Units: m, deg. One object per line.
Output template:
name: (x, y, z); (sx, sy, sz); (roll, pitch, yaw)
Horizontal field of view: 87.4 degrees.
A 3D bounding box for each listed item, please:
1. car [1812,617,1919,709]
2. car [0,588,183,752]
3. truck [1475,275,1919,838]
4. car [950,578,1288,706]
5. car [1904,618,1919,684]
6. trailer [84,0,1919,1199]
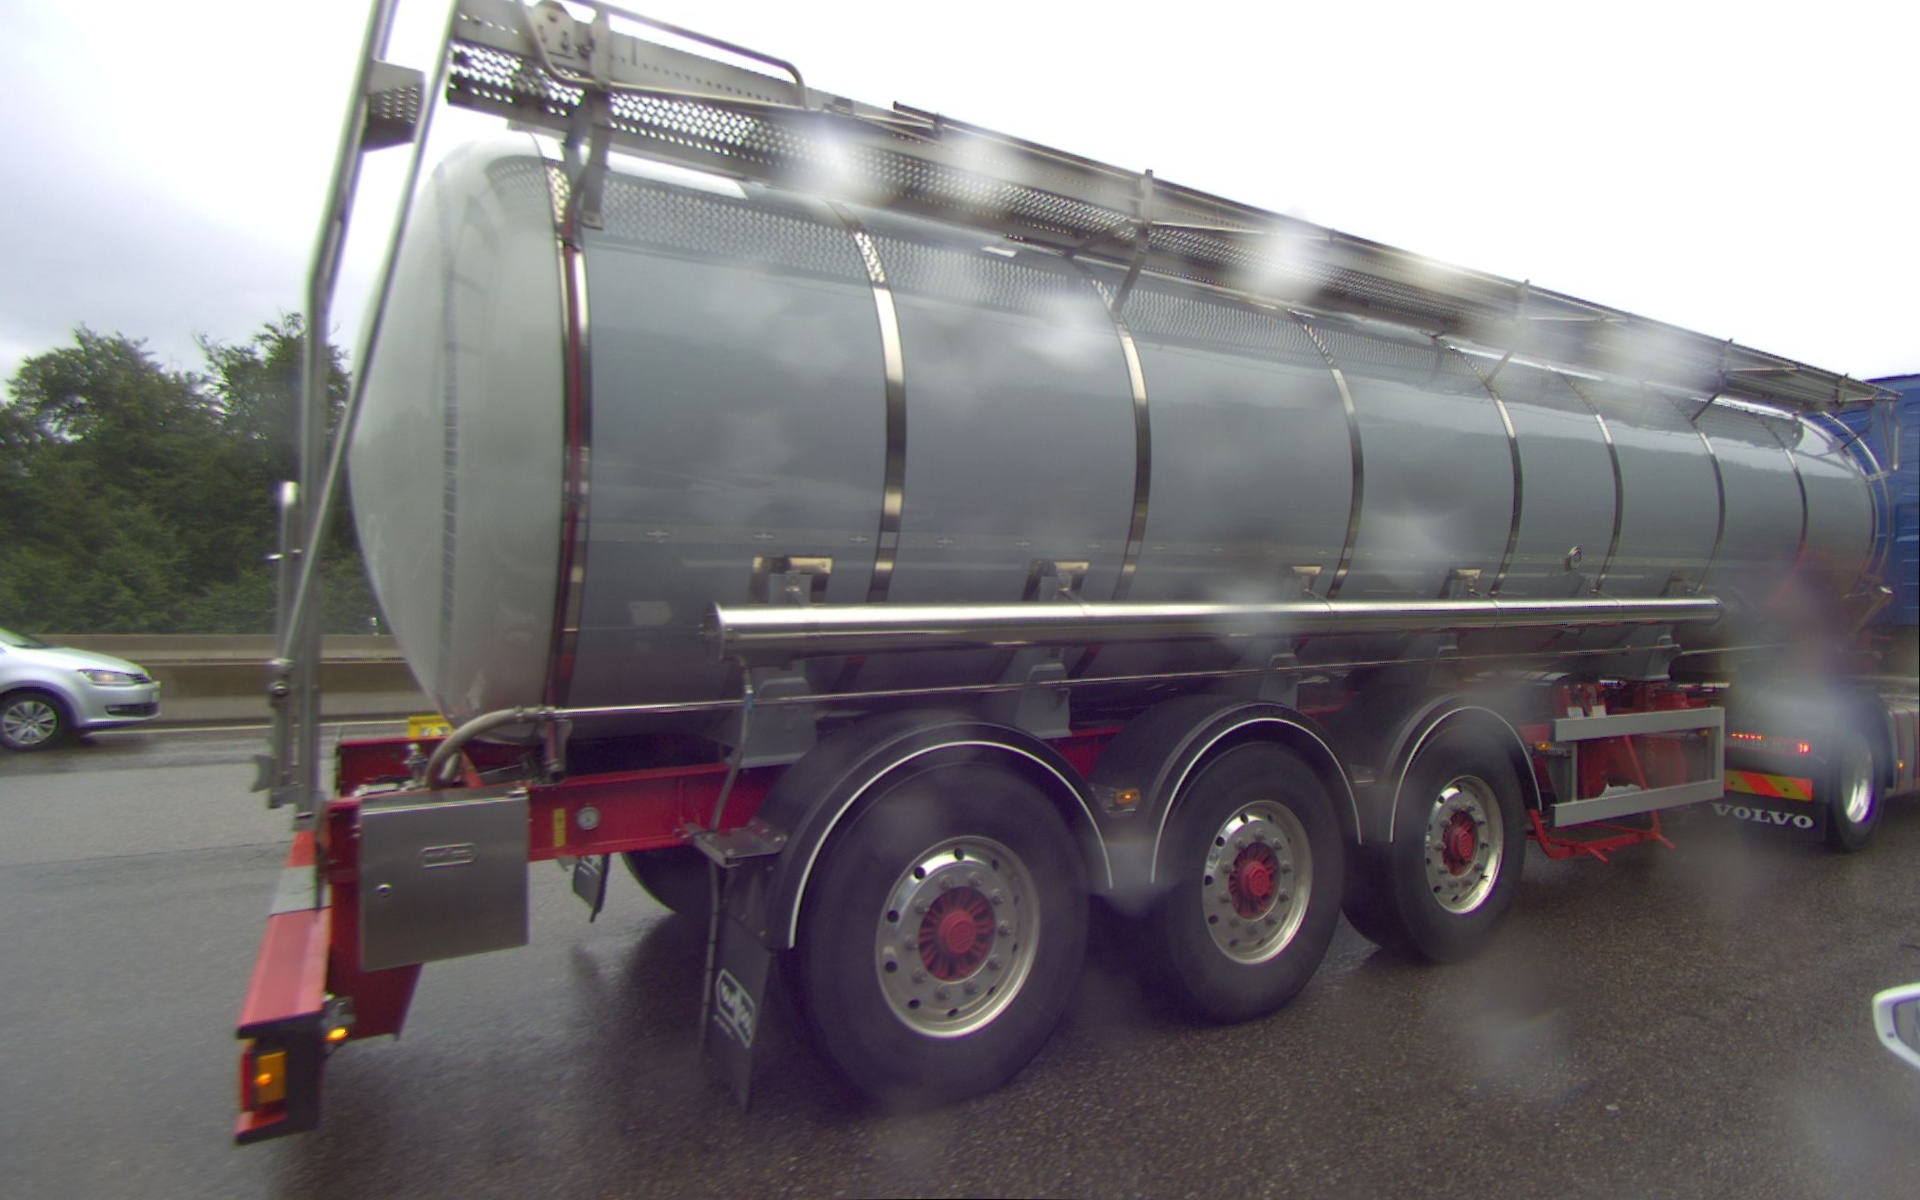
car: (20.080, 1.275, 21.207); (4.514, 1.774, 1.837); (1, -2, -31)
car: (-11.601, 0.715, 10.667); (5.023, 1.706, 1.984); (1, -1, -31)
truck: (7.565, -0.241, 9.221); (4.999, 3.743, 2.862); (1, -1, -31)
car: (2.398, 0.583, 14.719); (4.753, 1.615, 1.983); (1, -1, -31)
car: (29.208, 1.595, 28.962); (3.955, 1.862, 1.787); (3, 2, -31)
trailer: (1.902, -0.158, 5.721); (9.964, 3.332, 2.858); (1, -1, -32)
